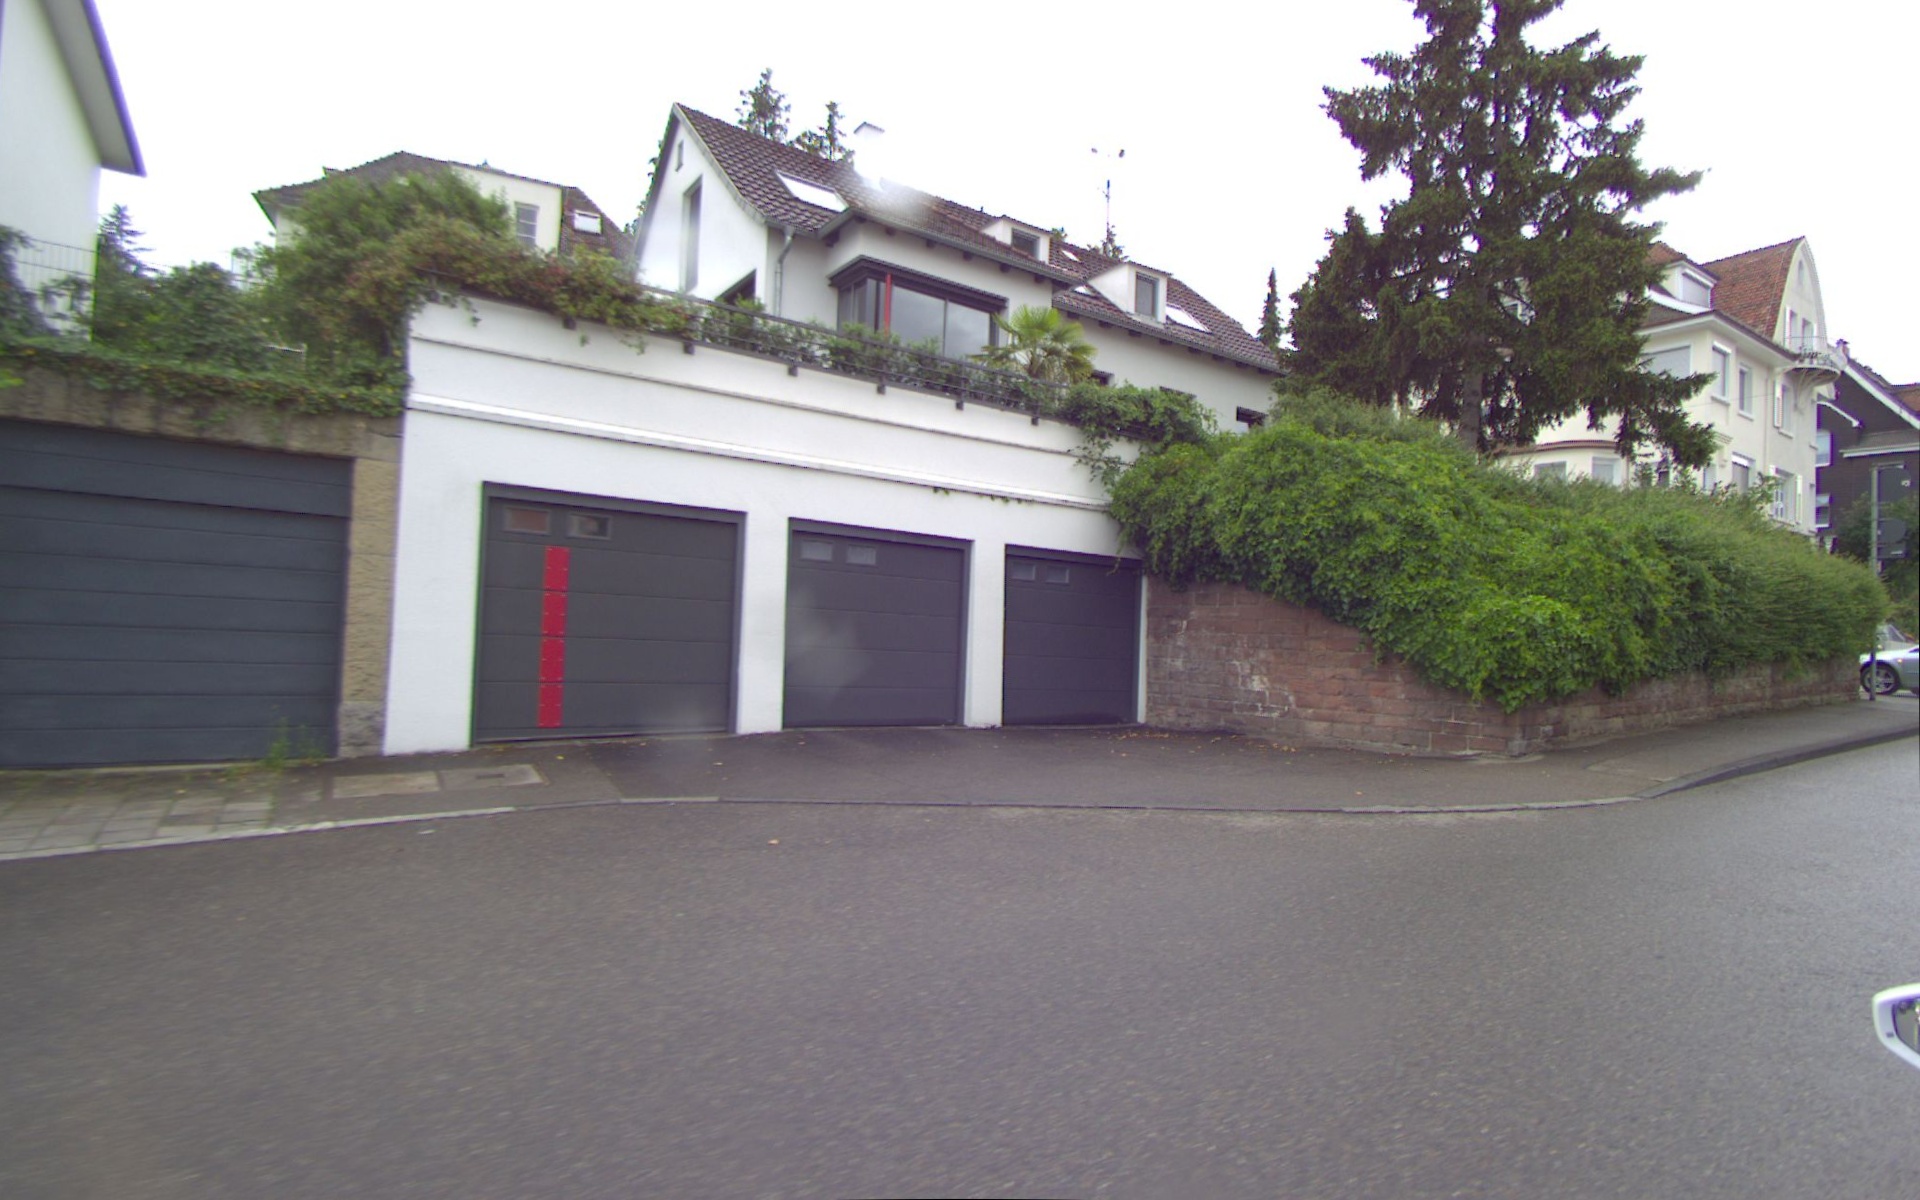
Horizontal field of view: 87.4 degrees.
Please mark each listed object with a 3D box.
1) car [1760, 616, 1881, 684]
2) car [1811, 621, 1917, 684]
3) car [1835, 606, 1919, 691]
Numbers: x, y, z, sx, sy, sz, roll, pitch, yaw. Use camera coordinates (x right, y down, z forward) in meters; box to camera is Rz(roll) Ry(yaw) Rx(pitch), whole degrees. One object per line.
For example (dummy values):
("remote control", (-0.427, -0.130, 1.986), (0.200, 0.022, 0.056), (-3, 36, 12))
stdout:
("car", (22.980, 1.298, 26.776), (3.966, 1.639, 1.752), (2, -1, -39))
("car", (27.324, 1.550, 30.329), (3.966, 1.719, 1.752), (2, -1, -39))
("car", (19.861, 1.062, 19.193), (1.794, 1.577, 4.360), (3, 2, -19))
